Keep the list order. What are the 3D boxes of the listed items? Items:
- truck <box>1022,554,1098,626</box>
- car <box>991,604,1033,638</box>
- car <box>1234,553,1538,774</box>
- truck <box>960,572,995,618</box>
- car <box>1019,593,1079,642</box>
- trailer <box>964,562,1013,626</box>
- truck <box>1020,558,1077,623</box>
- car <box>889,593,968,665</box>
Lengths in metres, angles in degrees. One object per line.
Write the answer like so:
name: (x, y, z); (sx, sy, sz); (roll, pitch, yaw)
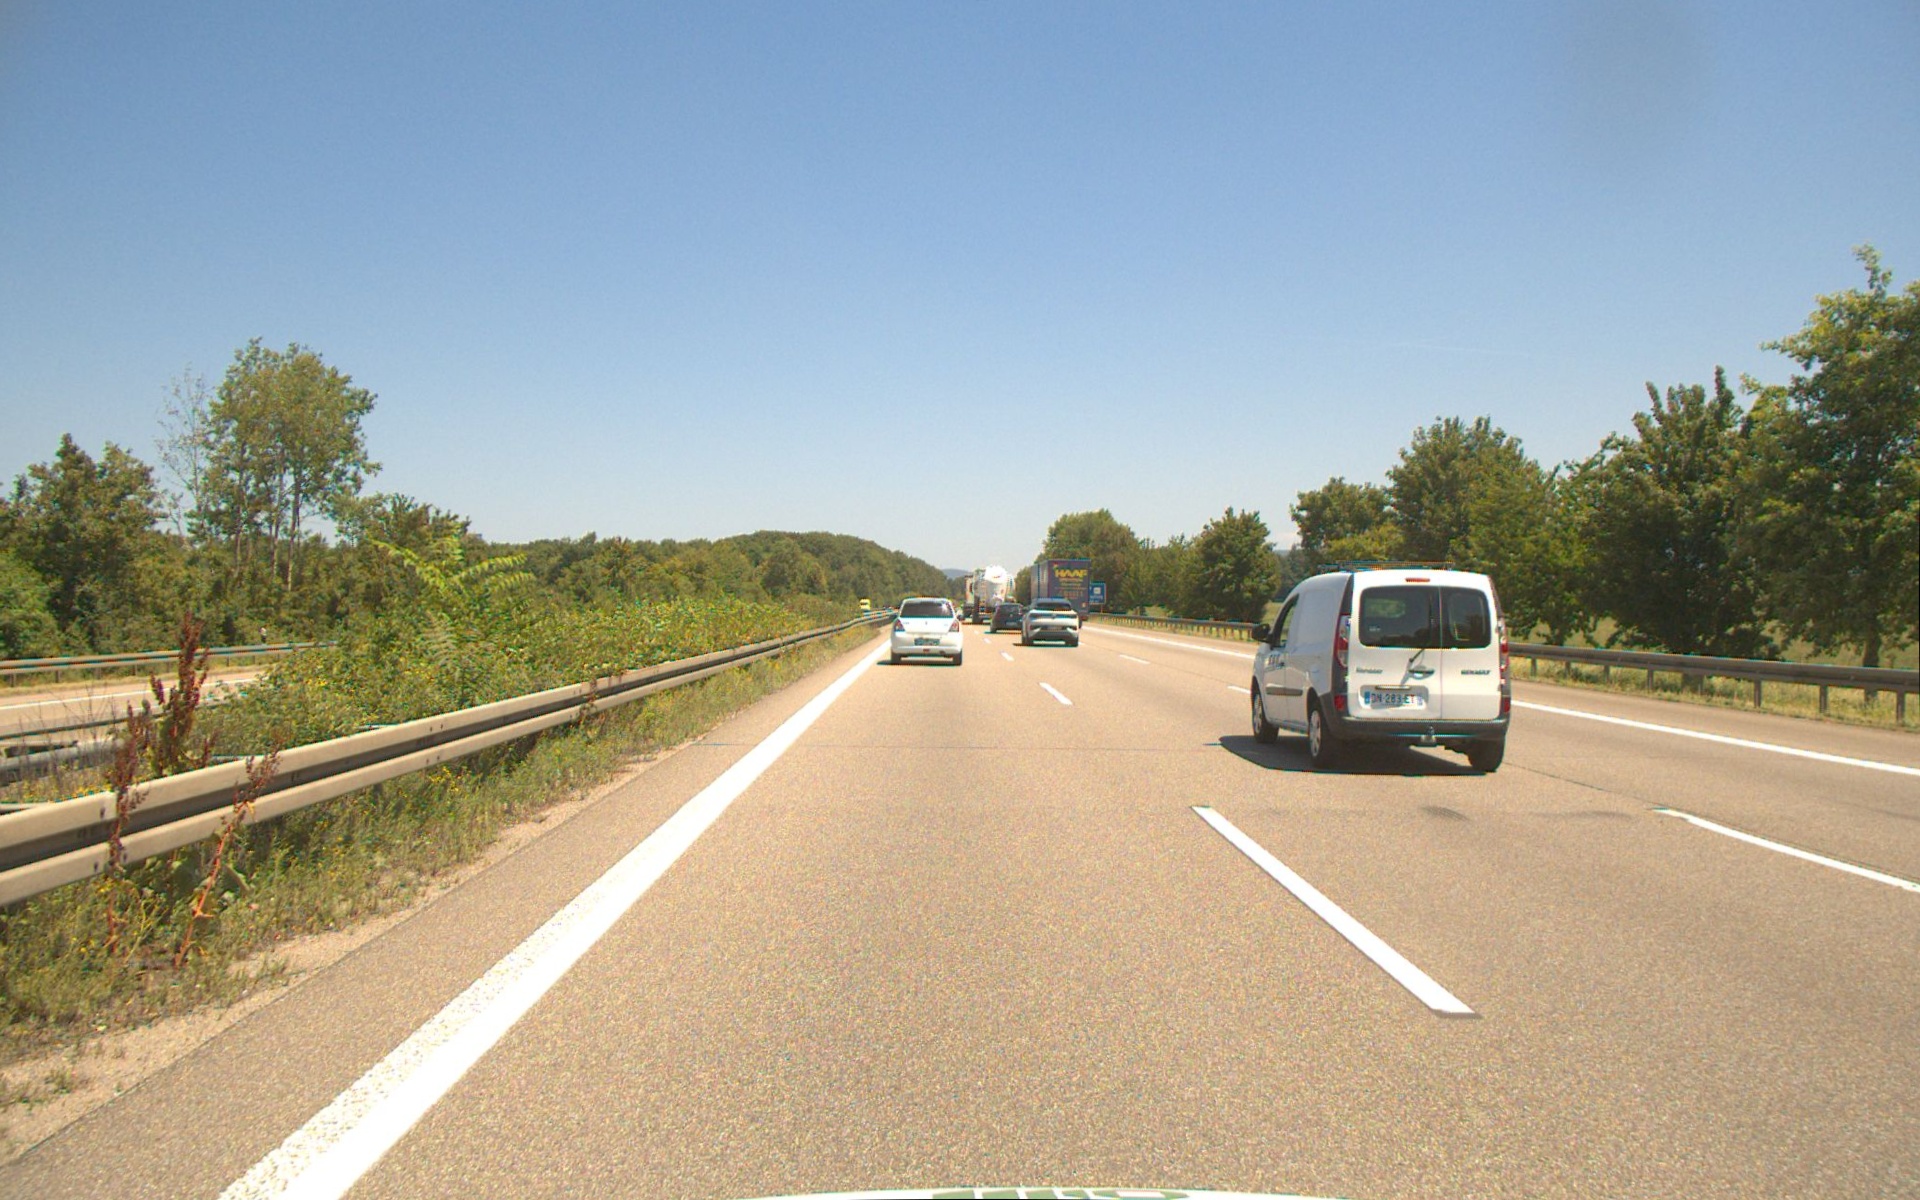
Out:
truck: (6.202, -0.591, 105.120); (3.047, 4.211, 15.501); (1, 0, -3)
car: (2.446, 0.970, 78.952); (1.813, 1.549, 3.956); (1, 0, -1)
car: (4.100, 0.557, 16.751); (1.815, 1.895, 4.701); (1, 0, -1)
truck: (1.685, -0.476, 165.733); (3.325, 4.287, 12.082); (1, 0, 0)
car: (3.062, 0.589, 57.623); (1.765, 1.631, 4.380); (1, 0, -1)
trailer: (1.877, -0.368, 113.929); (2.852, 4.140, 12.415); (1, 0, -1)
truck: (5.915, -0.623, 112.038); (3.046, 4.211, 8.052); (1, 0, -2)
car: (-0.751, 0.655, 39.099); (1.763, 1.579, 3.609); (1, 0, -1)
